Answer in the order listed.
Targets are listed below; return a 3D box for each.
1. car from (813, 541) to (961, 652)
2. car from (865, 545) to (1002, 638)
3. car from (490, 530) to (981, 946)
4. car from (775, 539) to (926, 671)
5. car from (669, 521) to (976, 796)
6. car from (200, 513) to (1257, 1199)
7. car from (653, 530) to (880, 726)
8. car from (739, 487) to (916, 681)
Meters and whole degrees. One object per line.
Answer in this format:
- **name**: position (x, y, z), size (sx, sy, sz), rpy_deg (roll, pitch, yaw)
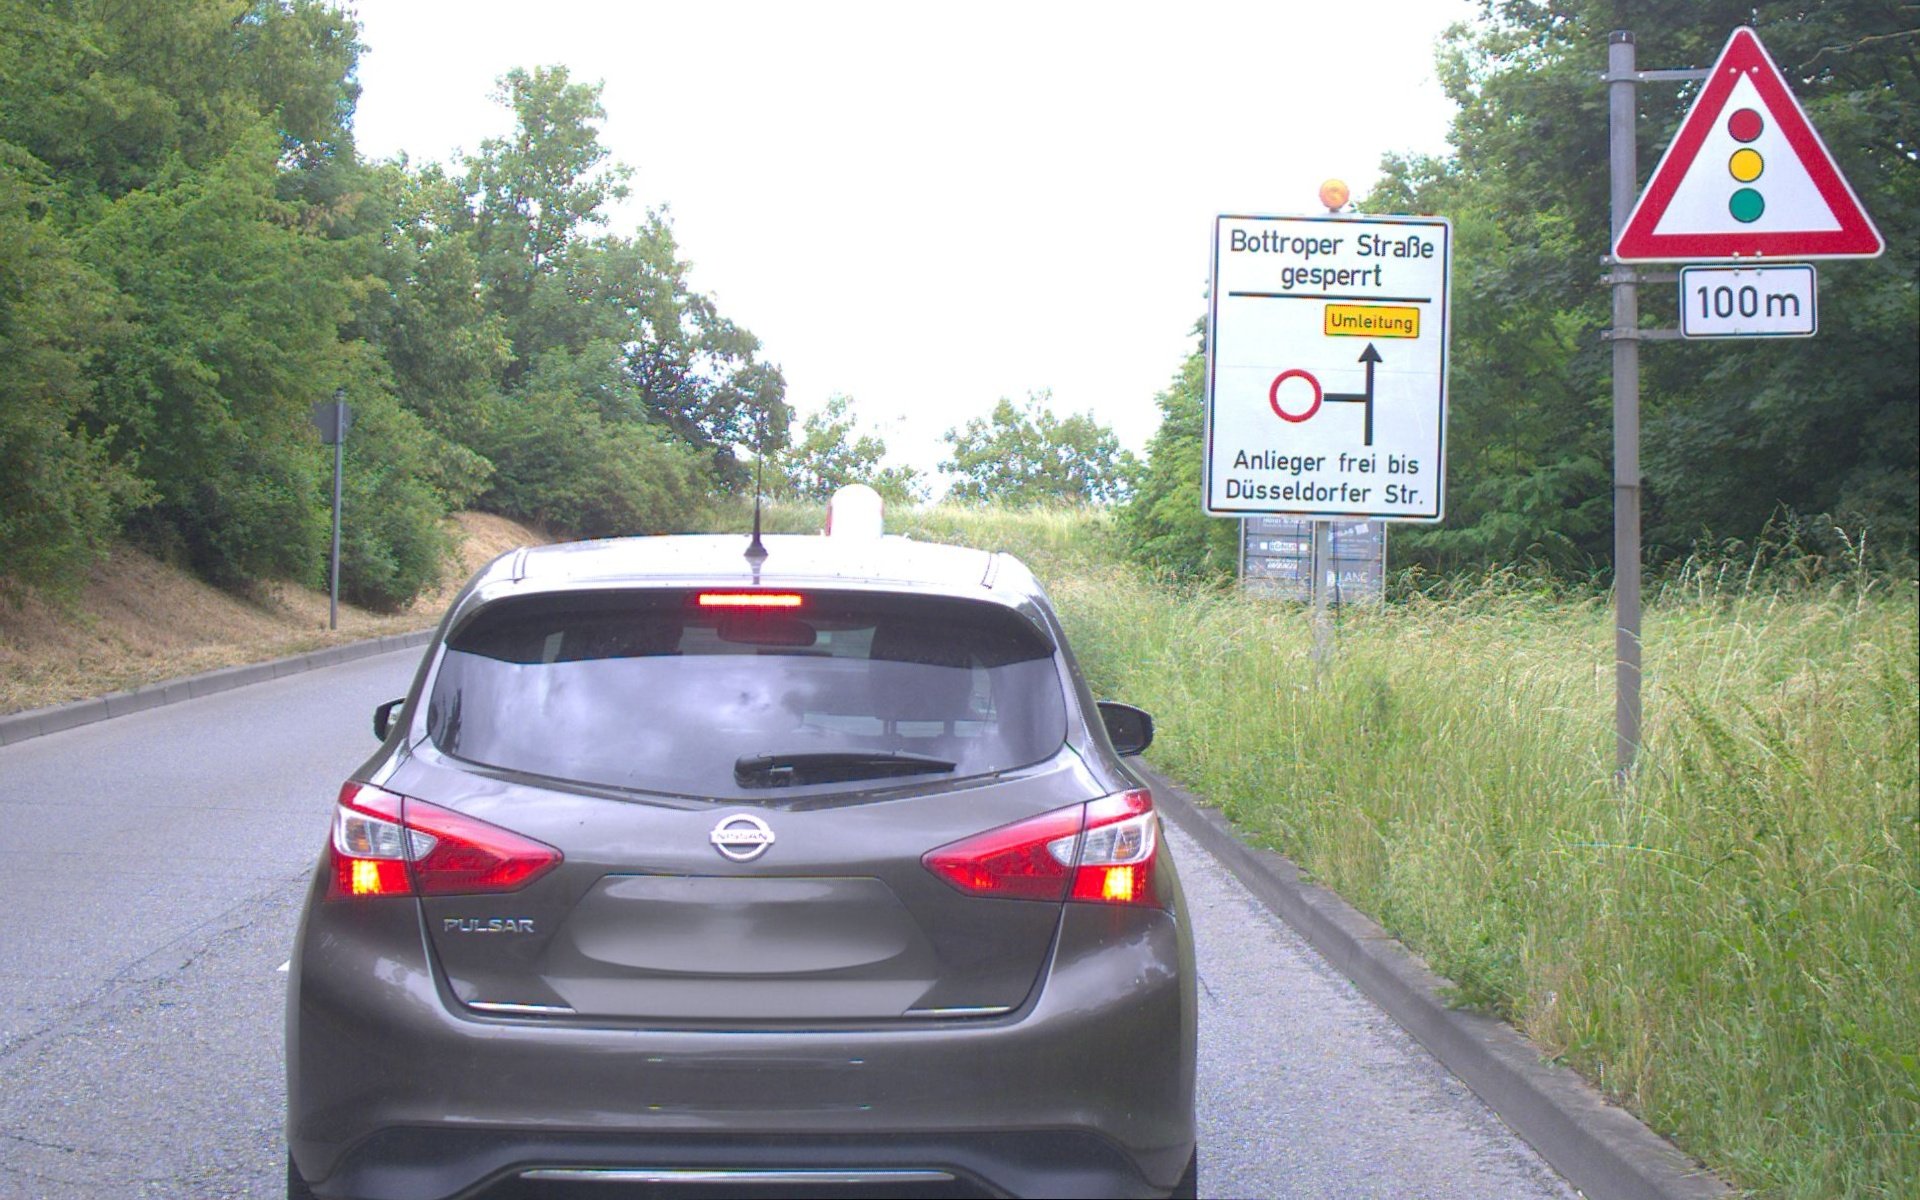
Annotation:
- **car**: position (-1.008, -0.074, 49.121), size (1.736, 1.521, 3.641), rpy_deg (0, 1, 5)
- **car**: position (-0.421, -0.174, 58.659), size (1.736, 1.521, 3.640), rpy_deg (0, 1, 9)
- **car**: position (-0.855, 0.482, 14.682), size (1.830, 1.551, 3.625), rpy_deg (0, 1, 0)
- **car**: position (-1.324, 0.023, 41.492), size (1.736, 1.521, 3.544), rpy_deg (0, 1, -2)
- **car**: position (-0.793, 0.300, 21.240), size (1.736, 1.551, 3.544), rpy_deg (0, 1, 0)
- **car**: position (-0.476, 0.601, 7.752), size (1.830, 1.551, 3.500), rpy_deg (1, 1, -2)
- **car**: position (-1.567, 0.188, 28.952), size (1.736, 1.551, 3.544), rpy_deg (0, 1, 0)
- **car**: position (-1.346, -0.191, 36.122), size (1.736, 1.928, 3.544), rpy_deg (0, 1, 0)
